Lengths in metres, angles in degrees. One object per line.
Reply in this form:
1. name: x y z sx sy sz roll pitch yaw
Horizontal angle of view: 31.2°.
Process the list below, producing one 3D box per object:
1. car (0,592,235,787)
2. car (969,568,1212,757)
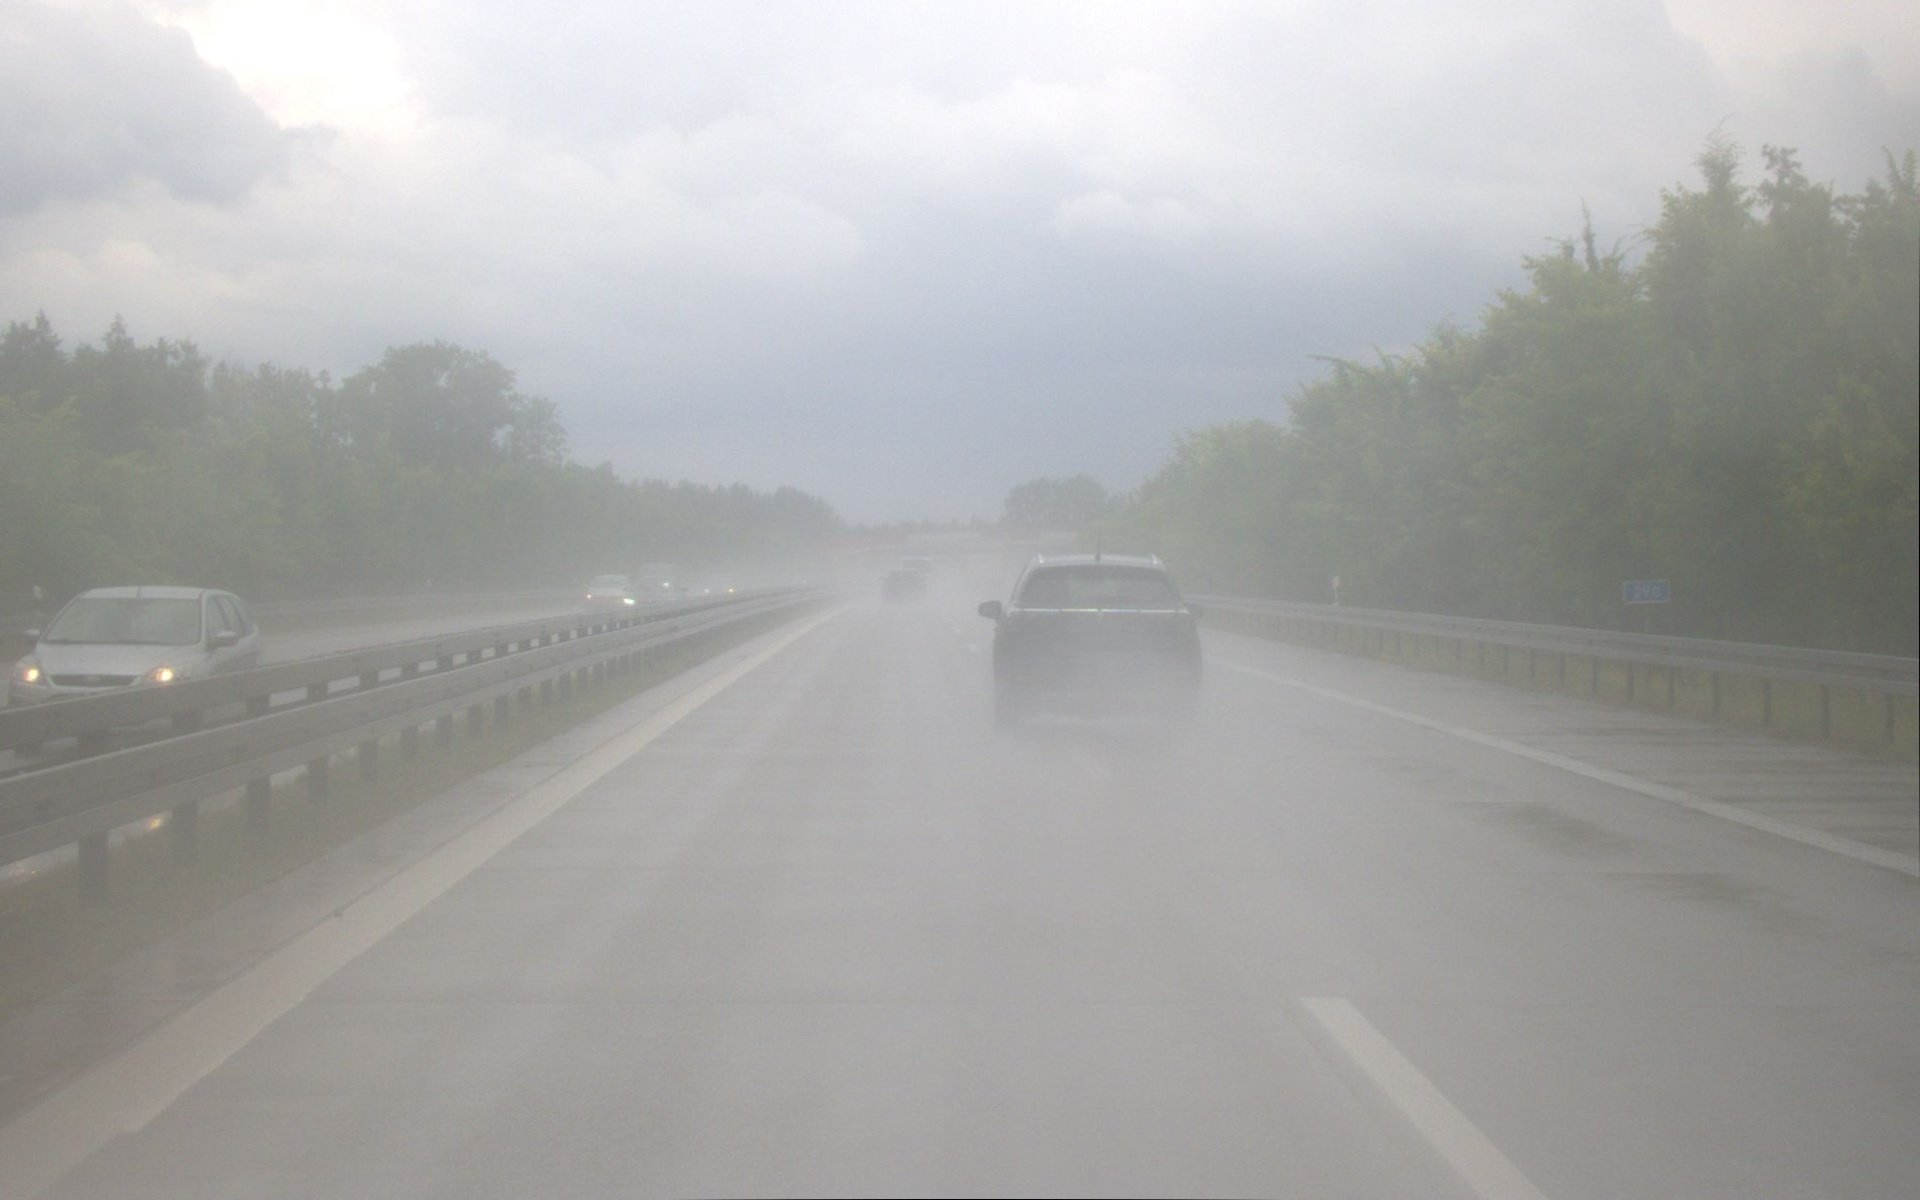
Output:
1. car: -7.363 0.697 29.079 1.767 1.413 4.607 -1 1 -4
2. car: 1.105 0.545 30.661 1.894 1.571 3.632 1 -1 -2
